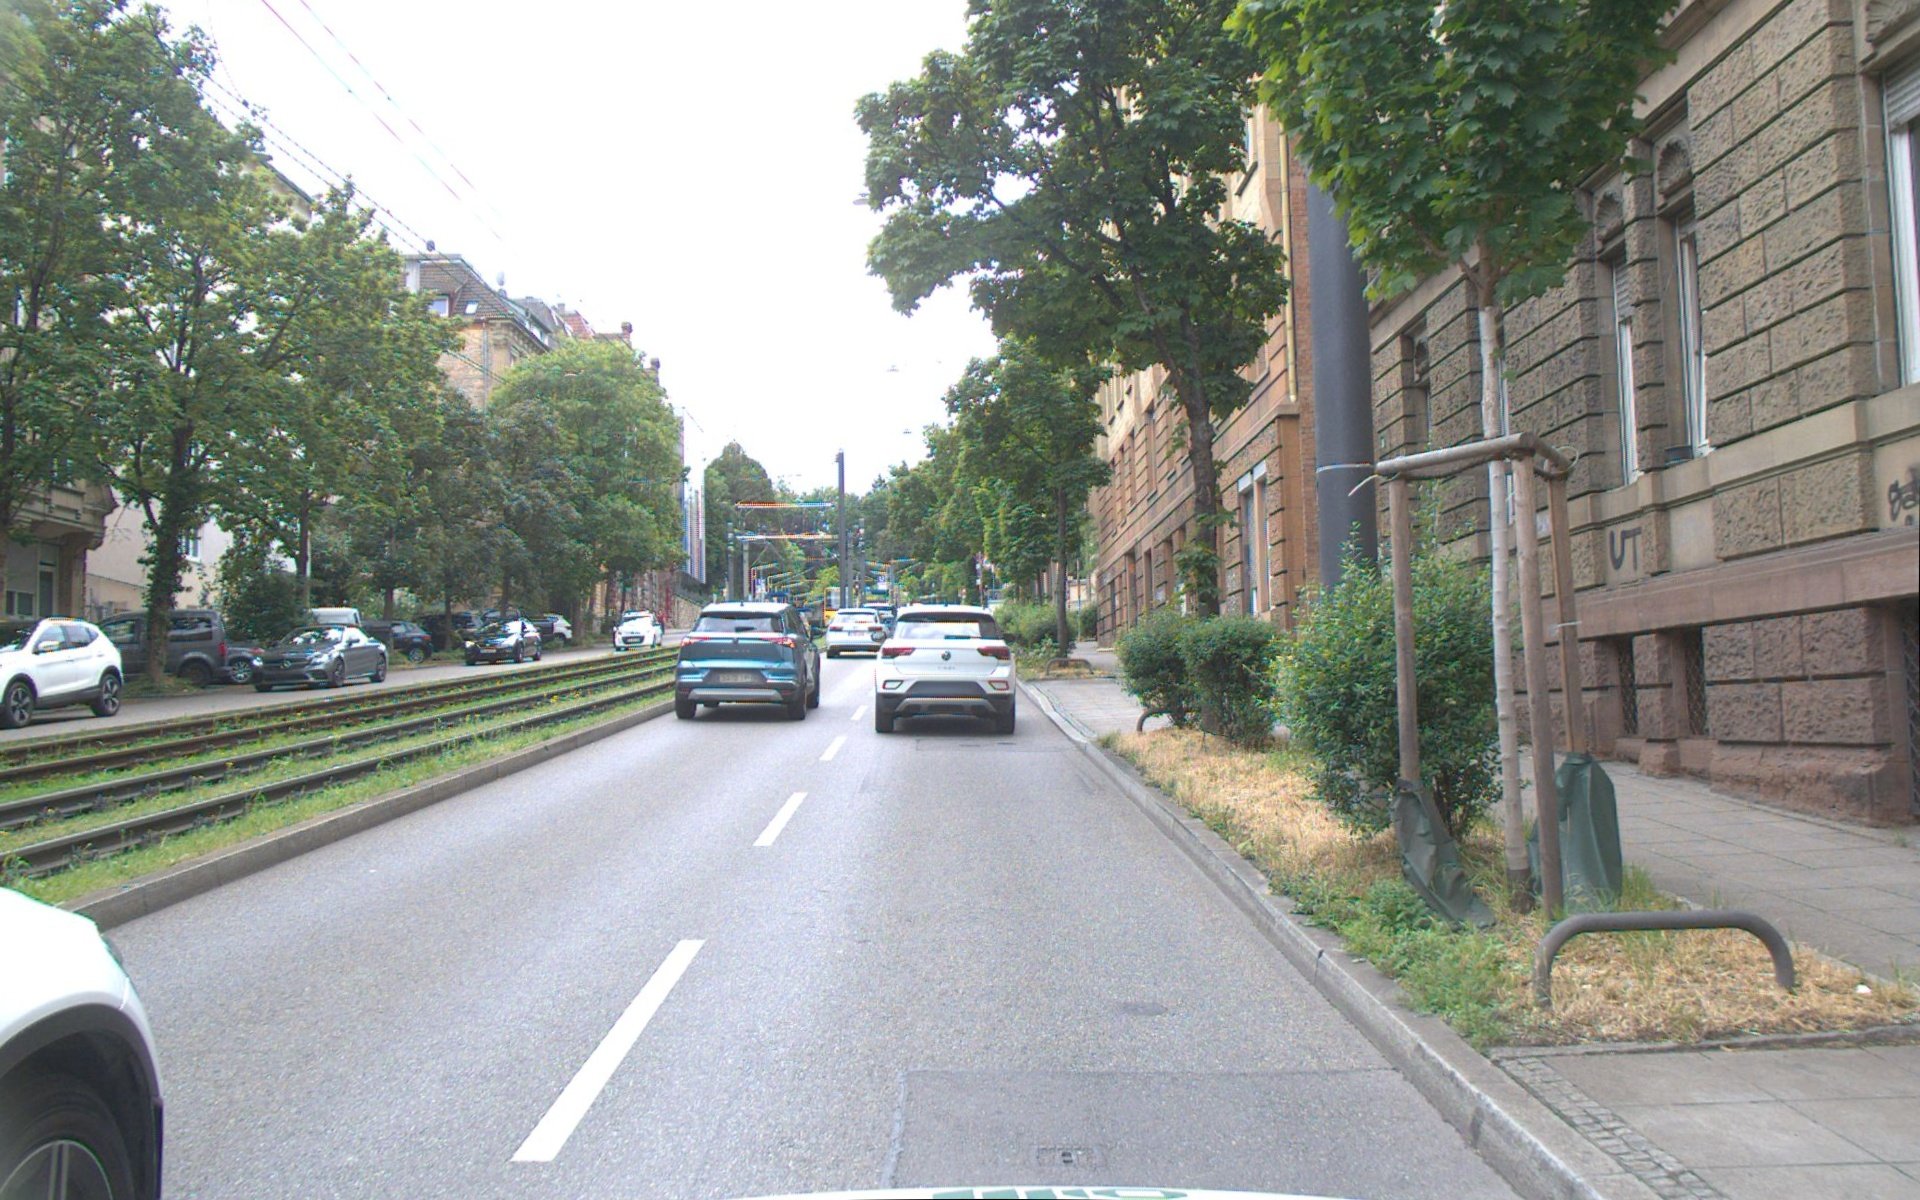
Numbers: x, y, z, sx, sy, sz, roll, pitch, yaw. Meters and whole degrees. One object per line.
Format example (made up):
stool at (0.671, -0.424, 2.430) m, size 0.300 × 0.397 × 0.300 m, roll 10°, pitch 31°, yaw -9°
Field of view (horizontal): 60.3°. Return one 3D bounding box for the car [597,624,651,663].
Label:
car at (-13.769, 1.784, 67.930) m, size 1.556 × 1.460 × 3.411 m, roll -3°, pitch -1°, yaw -2°

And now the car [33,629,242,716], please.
car at (-18.717, 1.626, 37.663) m, size 4.135 × 1.799 × 1.852 m, roll -1°, pitch -2°, yaw -31°

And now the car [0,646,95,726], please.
car at (-18.847, 1.668, 31.494) m, size 4.135 × 1.461 × 1.852 m, roll -1°, pitch -2°, yaw -31°

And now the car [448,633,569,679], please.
car at (-18.766, 2.328, 68.897) m, size 1.902 × 1.829 × 4.579 m, roll -1°, pitch -2°, yaw 42°

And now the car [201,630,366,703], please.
car at (-18.886, 1.841, 46.190) m, size 4.130 × 1.869 × 1.854 m, roll -1°, pitch -2°, yaw -28°

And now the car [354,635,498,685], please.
car at (-19.066, 2.127, 59.094) m, size 4.552 × 1.711 × 1.913 m, roll 1°, pitch -2°, yaw -34°

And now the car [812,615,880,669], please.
car at (-3.415, 1.271, 50.325) m, size 1.798 × 1.574 × 4.192 m, roll 0°, pitch -2°, yaw -1°

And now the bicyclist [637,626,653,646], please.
bicyclist at (-22.952, 2.627, 120.477) m, size 0.919 × 1.450 × 1.187 m, roll -1°, pitch -1°, yaw -1°

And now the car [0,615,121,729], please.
car at (-14.728, 1.117, 25.126) m, size 1.744 × 1.645 × 4.344 m, roll -3°, pitch -1°, yaw -1°

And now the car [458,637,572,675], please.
car at (-19.875, 2.501, 73.903) m, size 4.554 × 1.646 × 1.912 m, roll 2°, pitch -2°, yaw -35°

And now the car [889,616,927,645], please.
car at (-2.823, 1.682, 90.617) m, size 2.026 × 1.574 × 4.192 m, roll 0°, pitch -2°, yaw -1°

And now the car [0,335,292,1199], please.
car at (-2.194, 0.441, 0.989) m, size 1.798 × 1.696 × 4.668 m, roll 0°, pitch -2°, yaw -2°

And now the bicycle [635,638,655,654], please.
bicycle at (-22.913, 3.360, 120.416) m, size 0.919 × 1.119 × 2.702 m, roll -1°, pitch -1°, yaw -1°

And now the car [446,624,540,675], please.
car at (-15.143, 1.610, 53.877) m, size 1.828 × 1.460 × 4.491 m, roll -4°, pitch -1°, yaw -2°

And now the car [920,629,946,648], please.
car at (-2.172, 3.119, 133.872) m, size 2.026 × 1.574 × 4.192 m, roll 0°, pitch -2°, yaw -1°

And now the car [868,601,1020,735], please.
car at (-0.252, 0.864, 21.676) m, size 1.798 × 1.574 × 4.191 m, roll 0°, pitch -2°, yaw -2°

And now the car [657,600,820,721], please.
car at (-3.062, 0.847, 23.673) m, size 1.798 × 1.574 × 4.192 m, roll 0°, pitch -2°, yaw -1°

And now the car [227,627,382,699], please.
car at (-14.706, 1.380, 37.382) m, size 1.690 × 1.435 × 4.596 m, roll -3°, pitch -1°, yaw -1°

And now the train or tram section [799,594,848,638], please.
train or tram section at (-11.327, 1.421, 138.807) m, size 2.934 × 3.408 × 13.436 m, roll -1°, pitch -2°, yaw 0°

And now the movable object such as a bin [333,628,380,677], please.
movable object such as a bin at (-17.927, 1.565, 49.159) m, size 1.254 × 1.425 × 1.091 m, roll 0°, pitch -2°, yaw -17°

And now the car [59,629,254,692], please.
car at (-19.434, 1.450, 40.038) m, size 4.135 × 1.363 × 1.852 m, roll -1°, pitch -2°, yaw -31°

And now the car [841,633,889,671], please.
car at (-4.027, 2.214, 70.576) m, size 1.798 × 1.574 × 4.192 m, roll 0°, pitch -2°, yaw -1°

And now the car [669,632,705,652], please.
car at (-19.854, 3.047, 120.273) m, size 1.953 × 1.428 × 3.999 m, roll -1°, pitch -2°, yaw 0°
